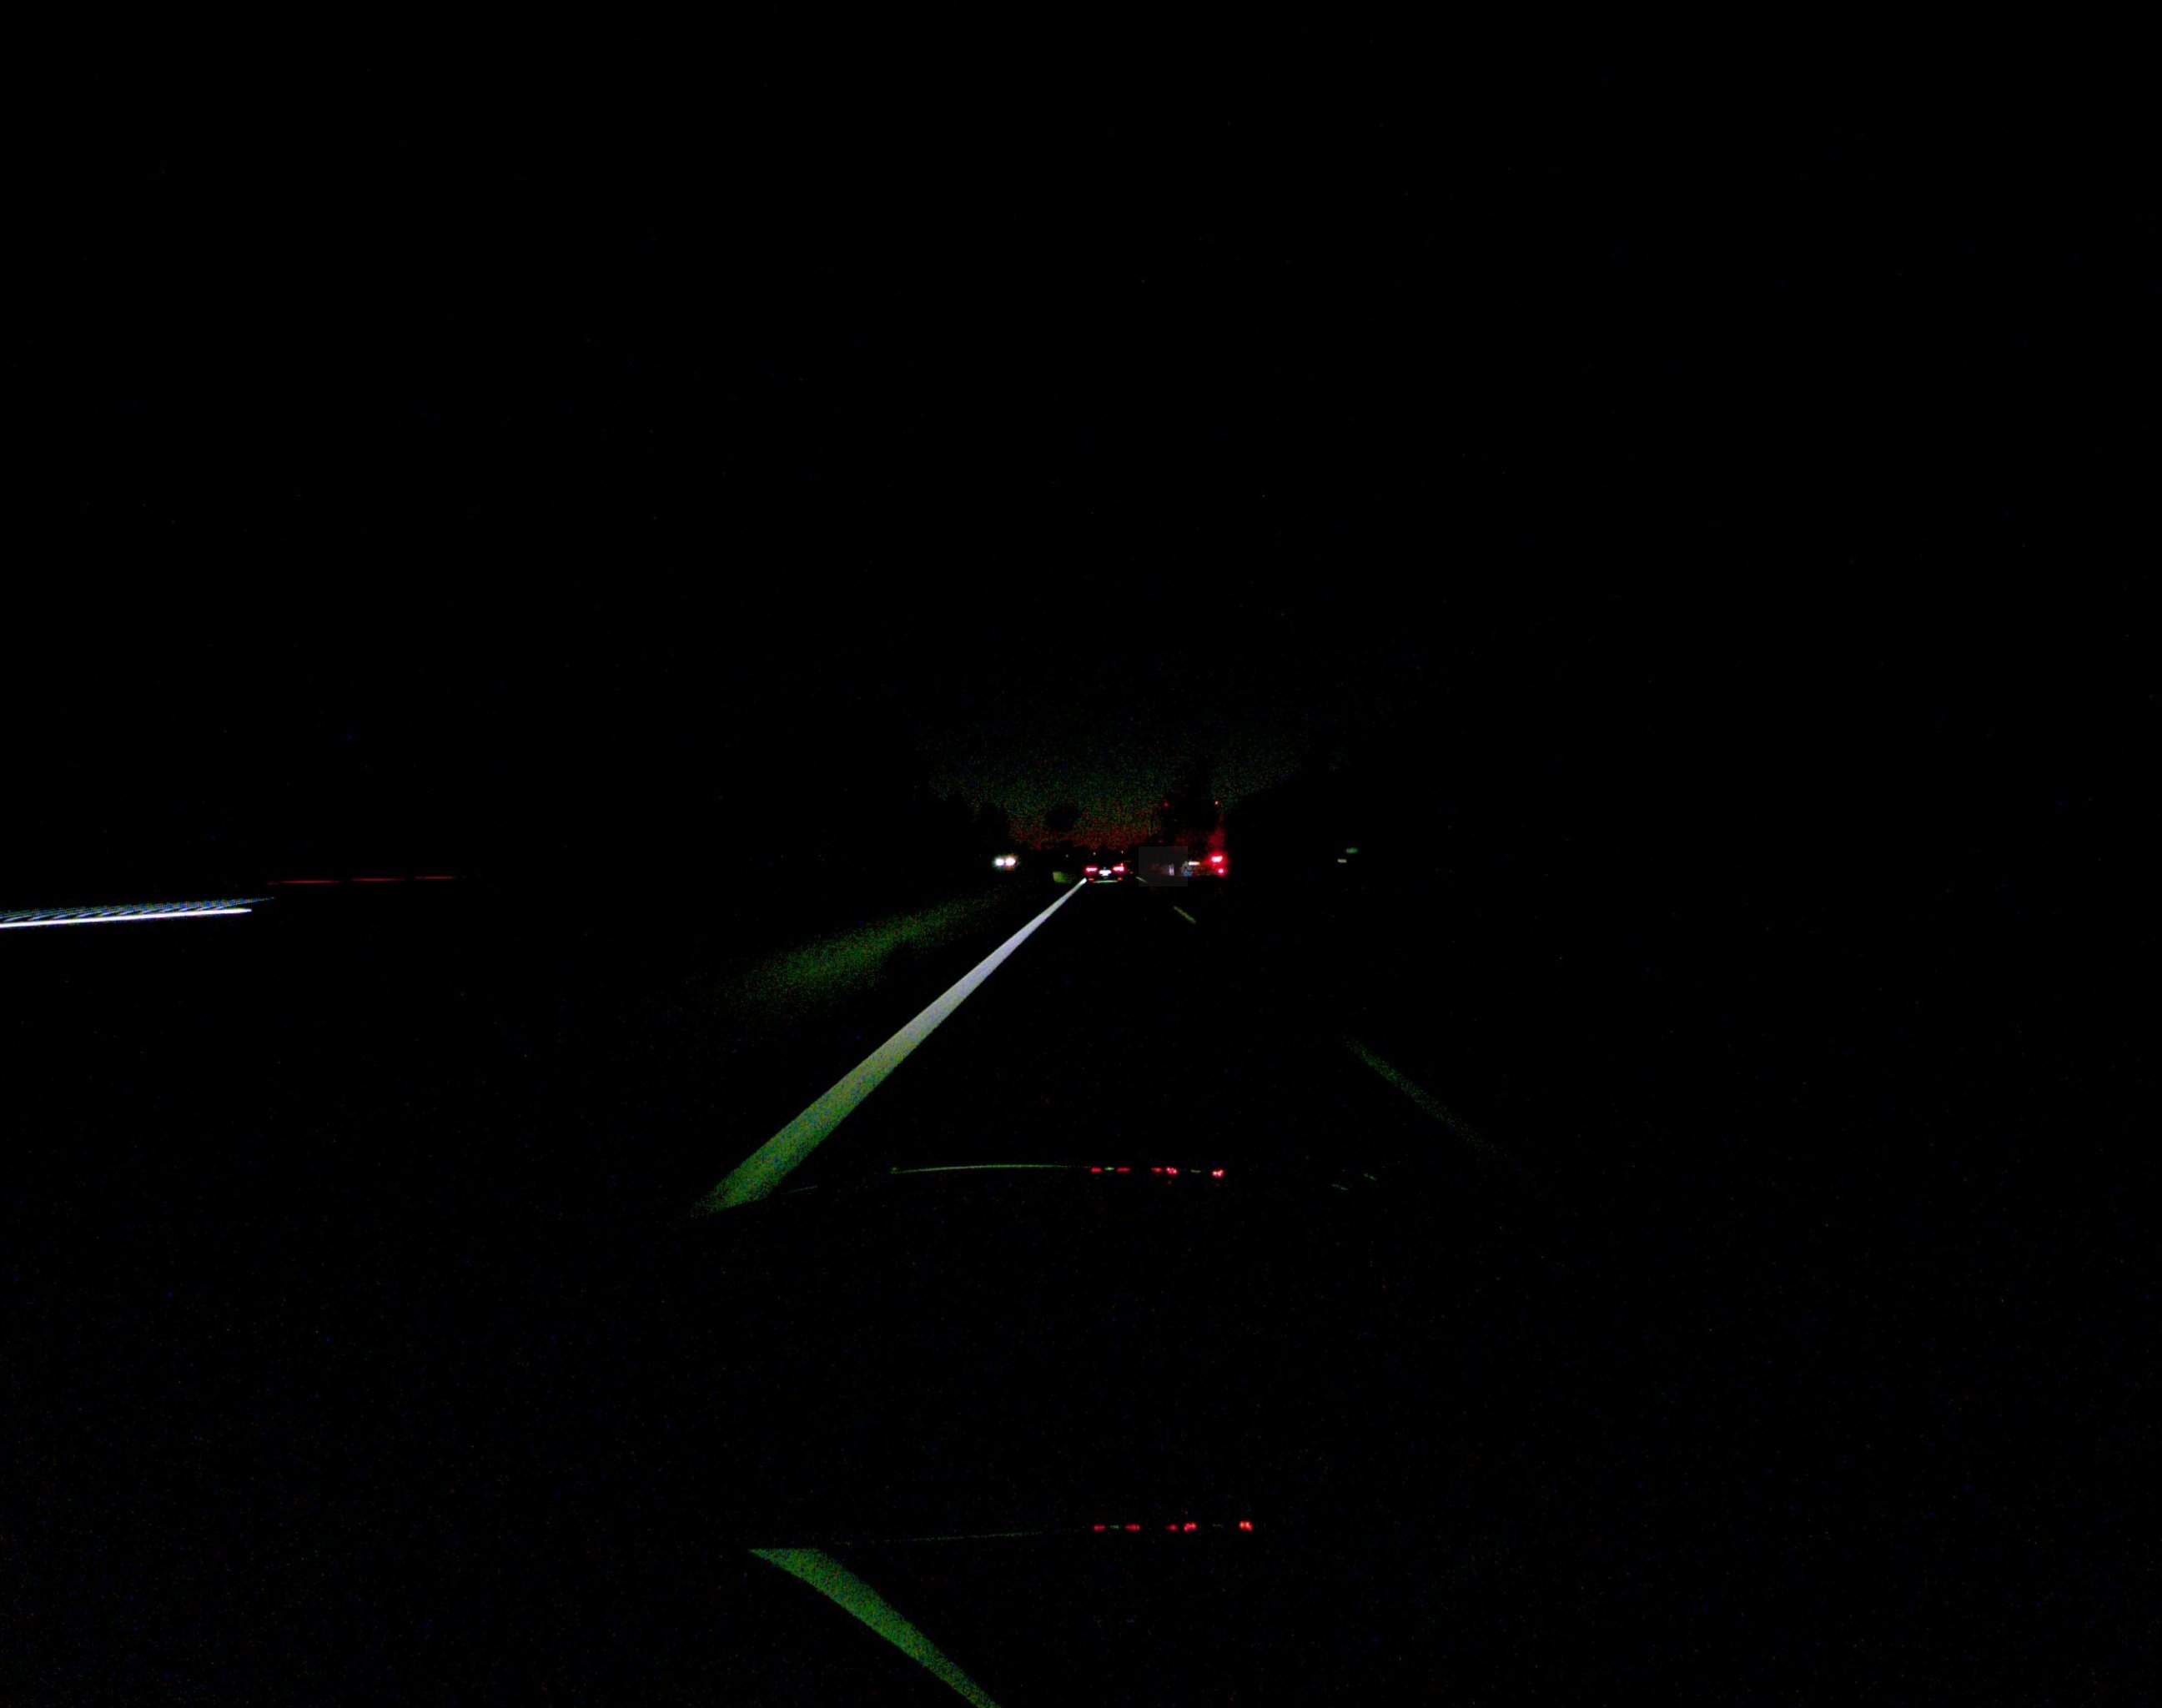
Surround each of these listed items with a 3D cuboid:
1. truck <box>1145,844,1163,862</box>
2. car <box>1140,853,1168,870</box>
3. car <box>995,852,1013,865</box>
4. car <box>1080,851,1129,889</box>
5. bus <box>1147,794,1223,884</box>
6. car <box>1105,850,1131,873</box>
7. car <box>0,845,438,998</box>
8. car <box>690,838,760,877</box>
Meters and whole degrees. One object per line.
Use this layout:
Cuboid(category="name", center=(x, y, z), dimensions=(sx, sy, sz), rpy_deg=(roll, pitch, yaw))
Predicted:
Cuboid(category="truck", center=(12.686, -0.143, 142.529), dimensions=(2.593, 2.875, 7.487), rpy_deg=(1, -1, 2))
Cuboid(category="car", center=(5.888, 0.601, 66.176), dimensions=(1.905, 1.275, 4.000), rpy_deg=(-2, -1, 0))
Cuboid(category="car", center=(-10.930, 0.685, 115.765), dimensions=(1.986, 1.776, 5.171), rpy_deg=(0, 0, 1))
Cuboid(category="car", center=(1.034, 0.746, 37.750), dimensions=(2.099, 1.618, 4.203), rpy_deg=(-2, -1, 0))
Cuboid(category="bus", center=(5.307, -0.582, 44.231), dimensions=(2.642, 3.994, 14.707), rpy_deg=(-2, -1, 2))
Cuboid(category="car", center=(2.979, 0.661, 66.122), dimensions=(1.905, 1.730, 4.000), rpy_deg=(-2, -1, 0))
Cuboid(category="car", center=(-11.125, 0.679, 10.584), dimensions=(1.926, 1.561, 4.454), rpy_deg=(0, 0, 1))
Cuboid(category="car", center=(-19.394, 0.182, 44.555), dimensions=(1.987, 1.926, 4.000), rpy_deg=(-3, -1, 1))
